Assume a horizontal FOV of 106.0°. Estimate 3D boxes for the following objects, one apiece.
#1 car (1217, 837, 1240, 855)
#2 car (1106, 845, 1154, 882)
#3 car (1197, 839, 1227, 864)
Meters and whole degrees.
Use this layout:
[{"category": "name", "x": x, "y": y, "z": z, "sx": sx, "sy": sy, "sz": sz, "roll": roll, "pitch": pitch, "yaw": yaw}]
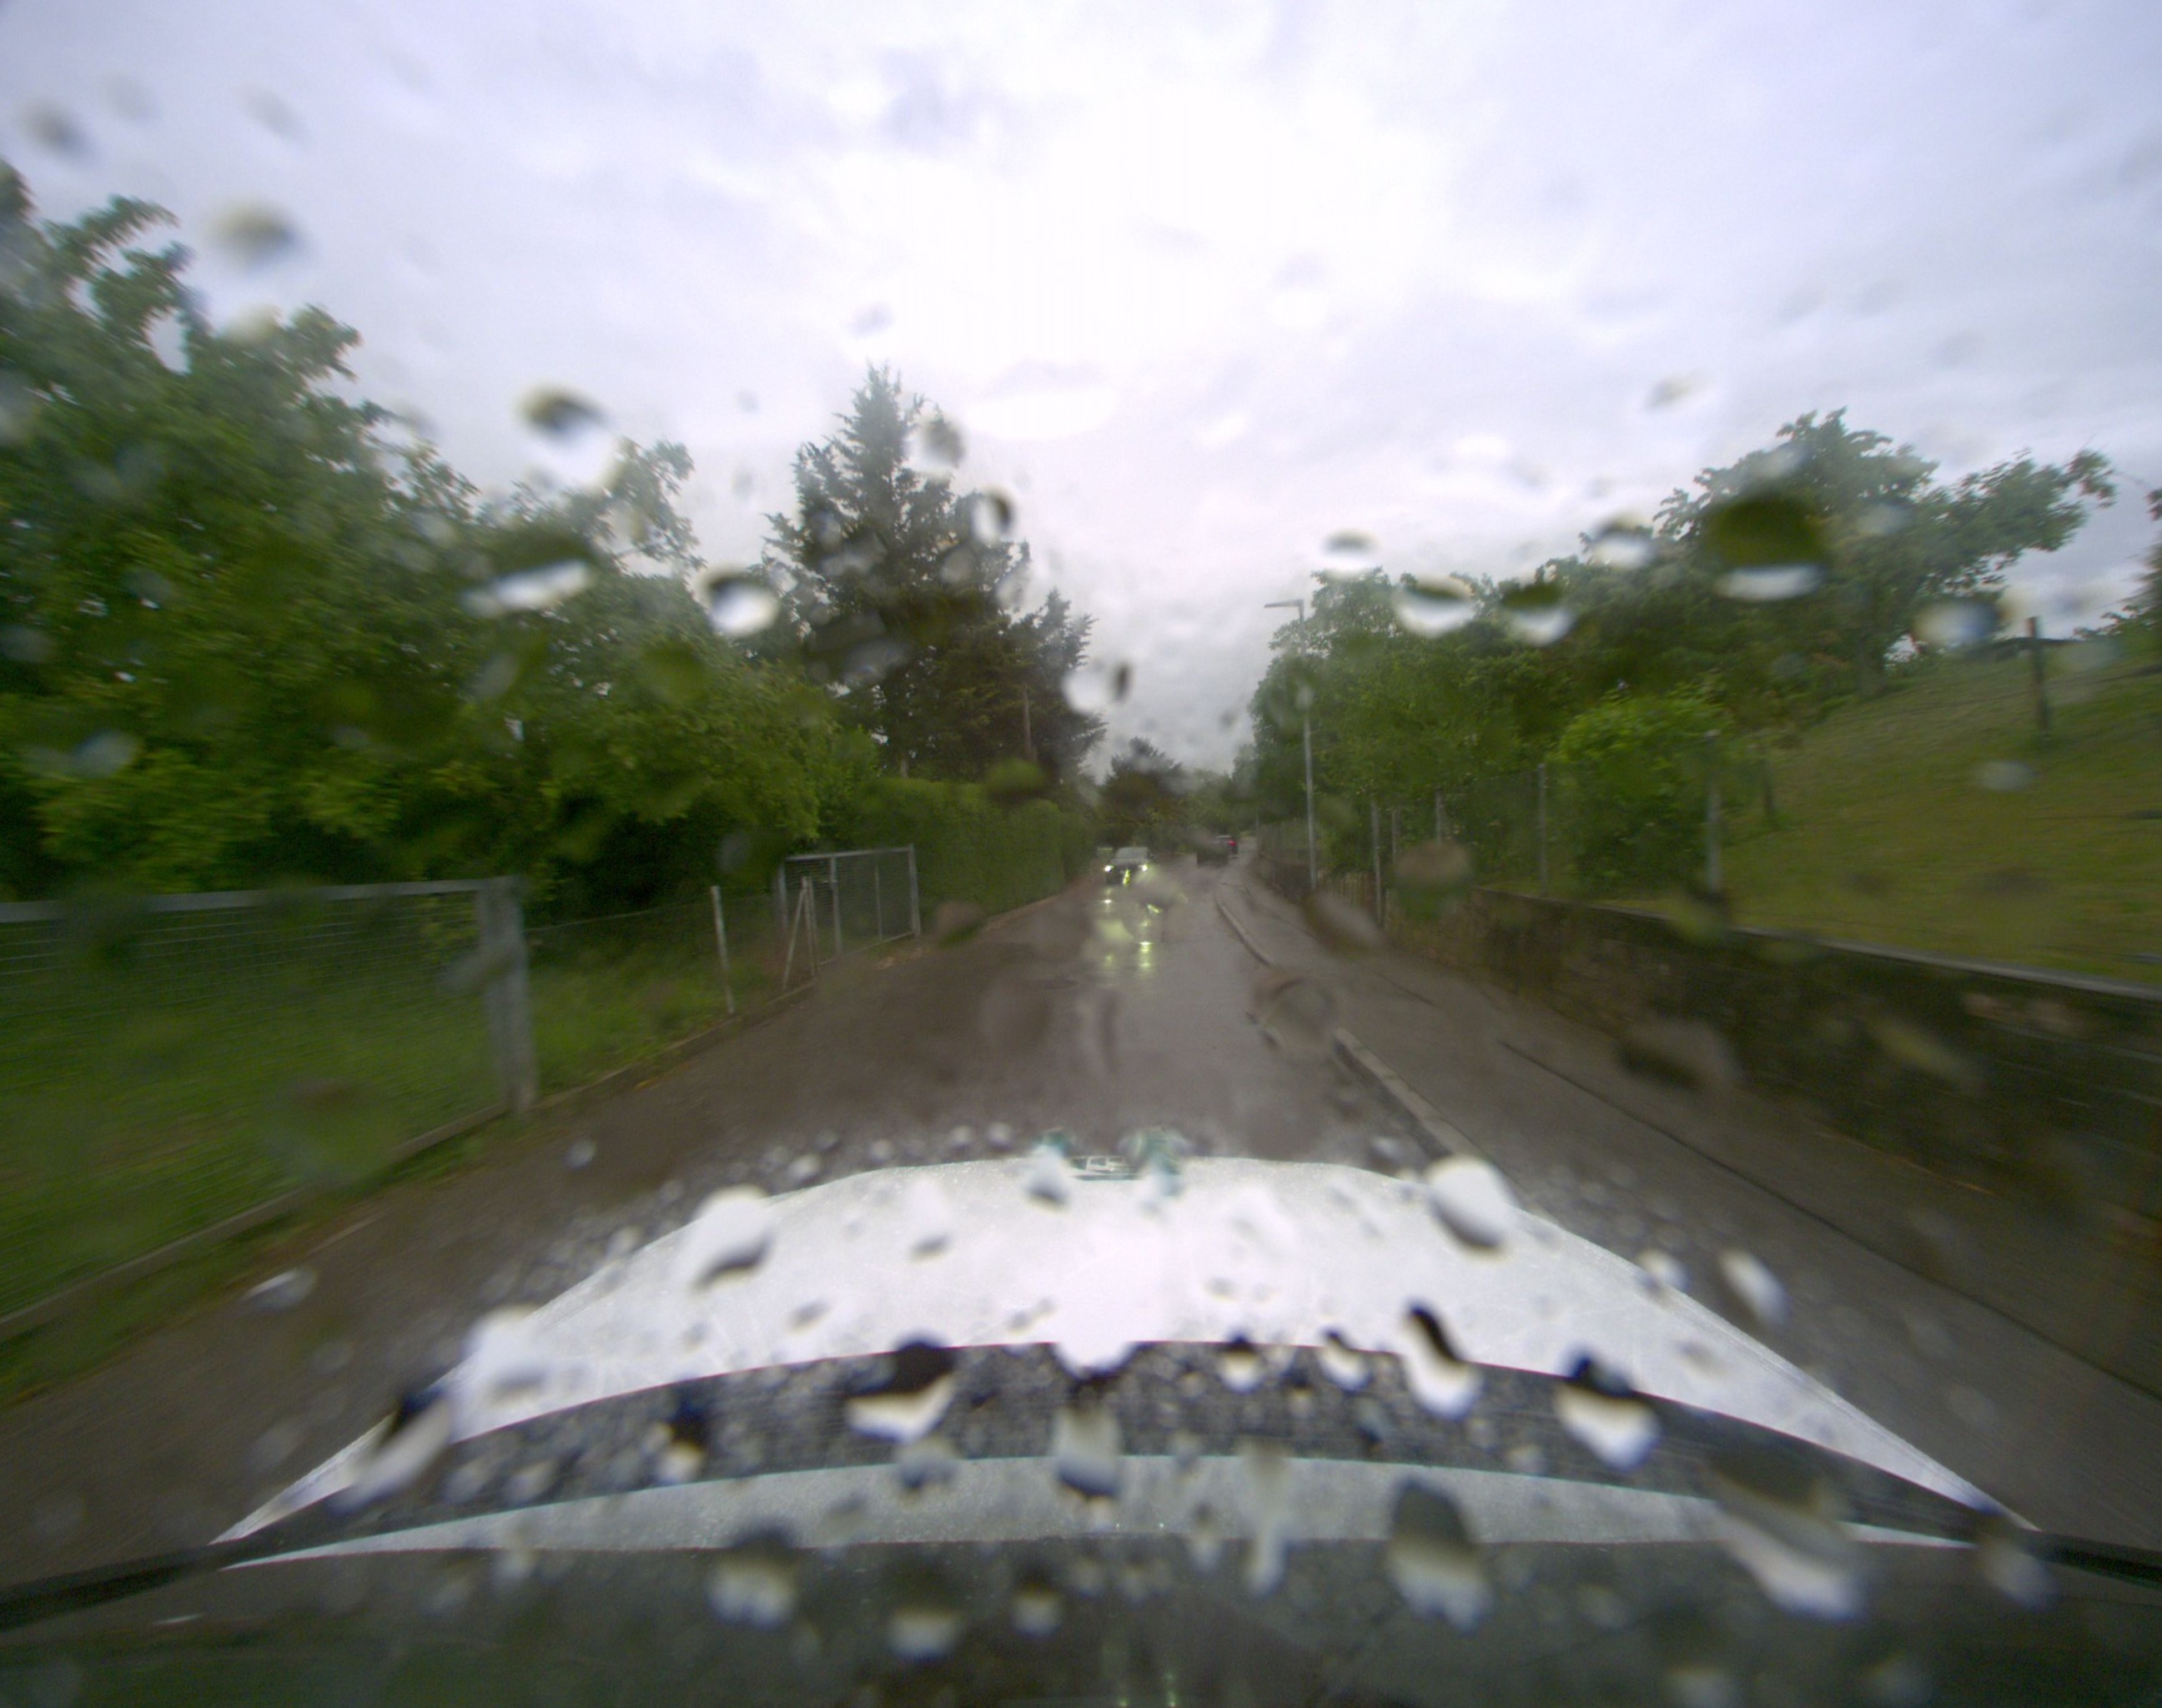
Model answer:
[{"category": "car", "x": 12.126, "y": -0.666, "z": 66.928, "sx": 1.623, "sy": 1.414, "sz": 3.558, "roll": -2, "pitch": 0, "yaw": 14}, {"category": "car", "x": 2.245, "y": 0.371, "z": 36.242, "sx": 1.879, "sy": 1.523, "sz": 4.429, "roll": -1, "pitch": 0, "yaw": 6}, {"category": "car", "x": 8.096, "y": -0.147, "z": 50.112, "sx": 1.623, "sy": 1.450, "sz": 3.557, "roll": -2, "pitch": 0, "yaw": 12}]
